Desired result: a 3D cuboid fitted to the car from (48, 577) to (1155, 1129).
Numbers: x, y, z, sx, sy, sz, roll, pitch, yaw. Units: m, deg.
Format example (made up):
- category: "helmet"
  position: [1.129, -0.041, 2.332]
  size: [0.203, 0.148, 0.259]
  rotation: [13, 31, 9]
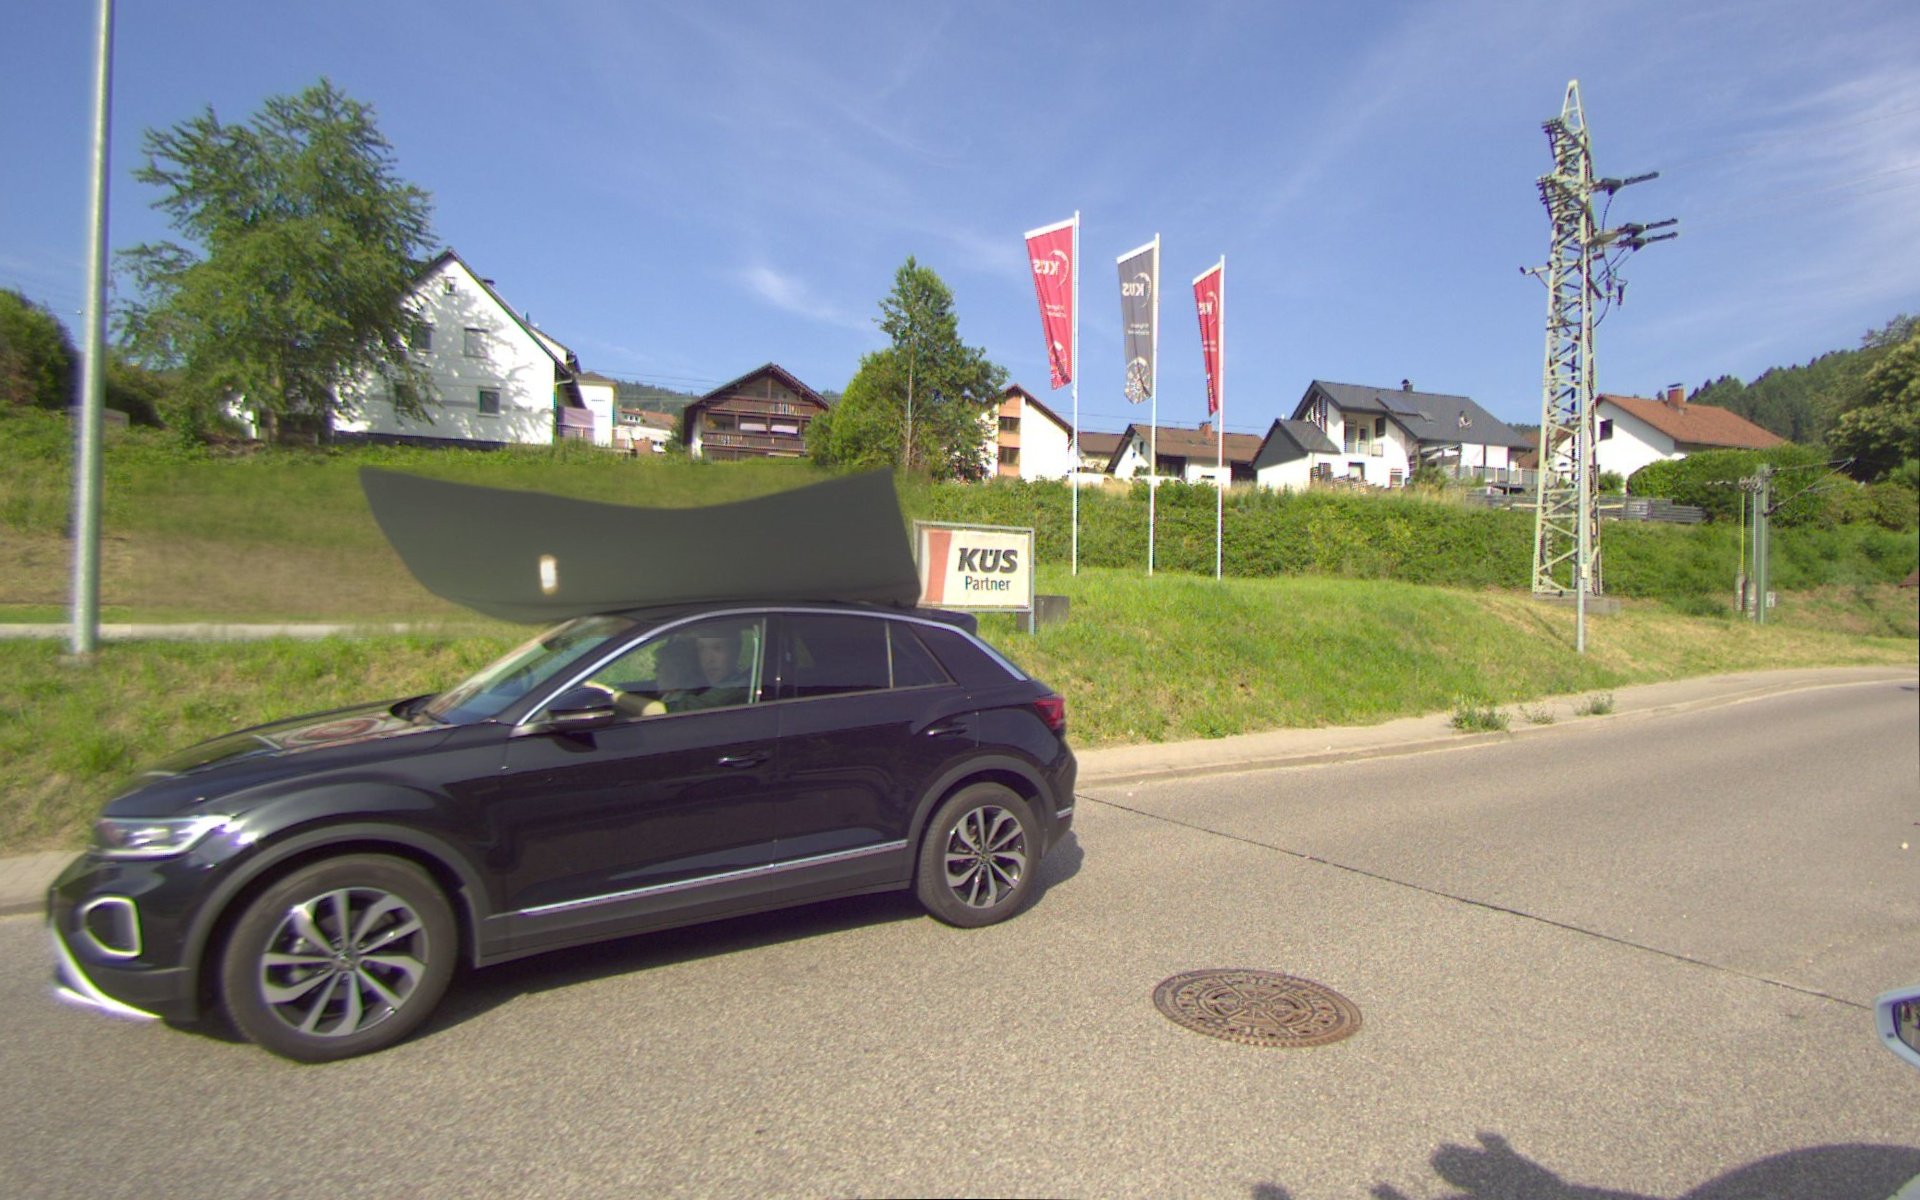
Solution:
- category: "car"
  position: [-1.241, 0.747, 4.714]
  size: [4.226, 1.536, 1.764]
  rotation: [1, -1, -33]
